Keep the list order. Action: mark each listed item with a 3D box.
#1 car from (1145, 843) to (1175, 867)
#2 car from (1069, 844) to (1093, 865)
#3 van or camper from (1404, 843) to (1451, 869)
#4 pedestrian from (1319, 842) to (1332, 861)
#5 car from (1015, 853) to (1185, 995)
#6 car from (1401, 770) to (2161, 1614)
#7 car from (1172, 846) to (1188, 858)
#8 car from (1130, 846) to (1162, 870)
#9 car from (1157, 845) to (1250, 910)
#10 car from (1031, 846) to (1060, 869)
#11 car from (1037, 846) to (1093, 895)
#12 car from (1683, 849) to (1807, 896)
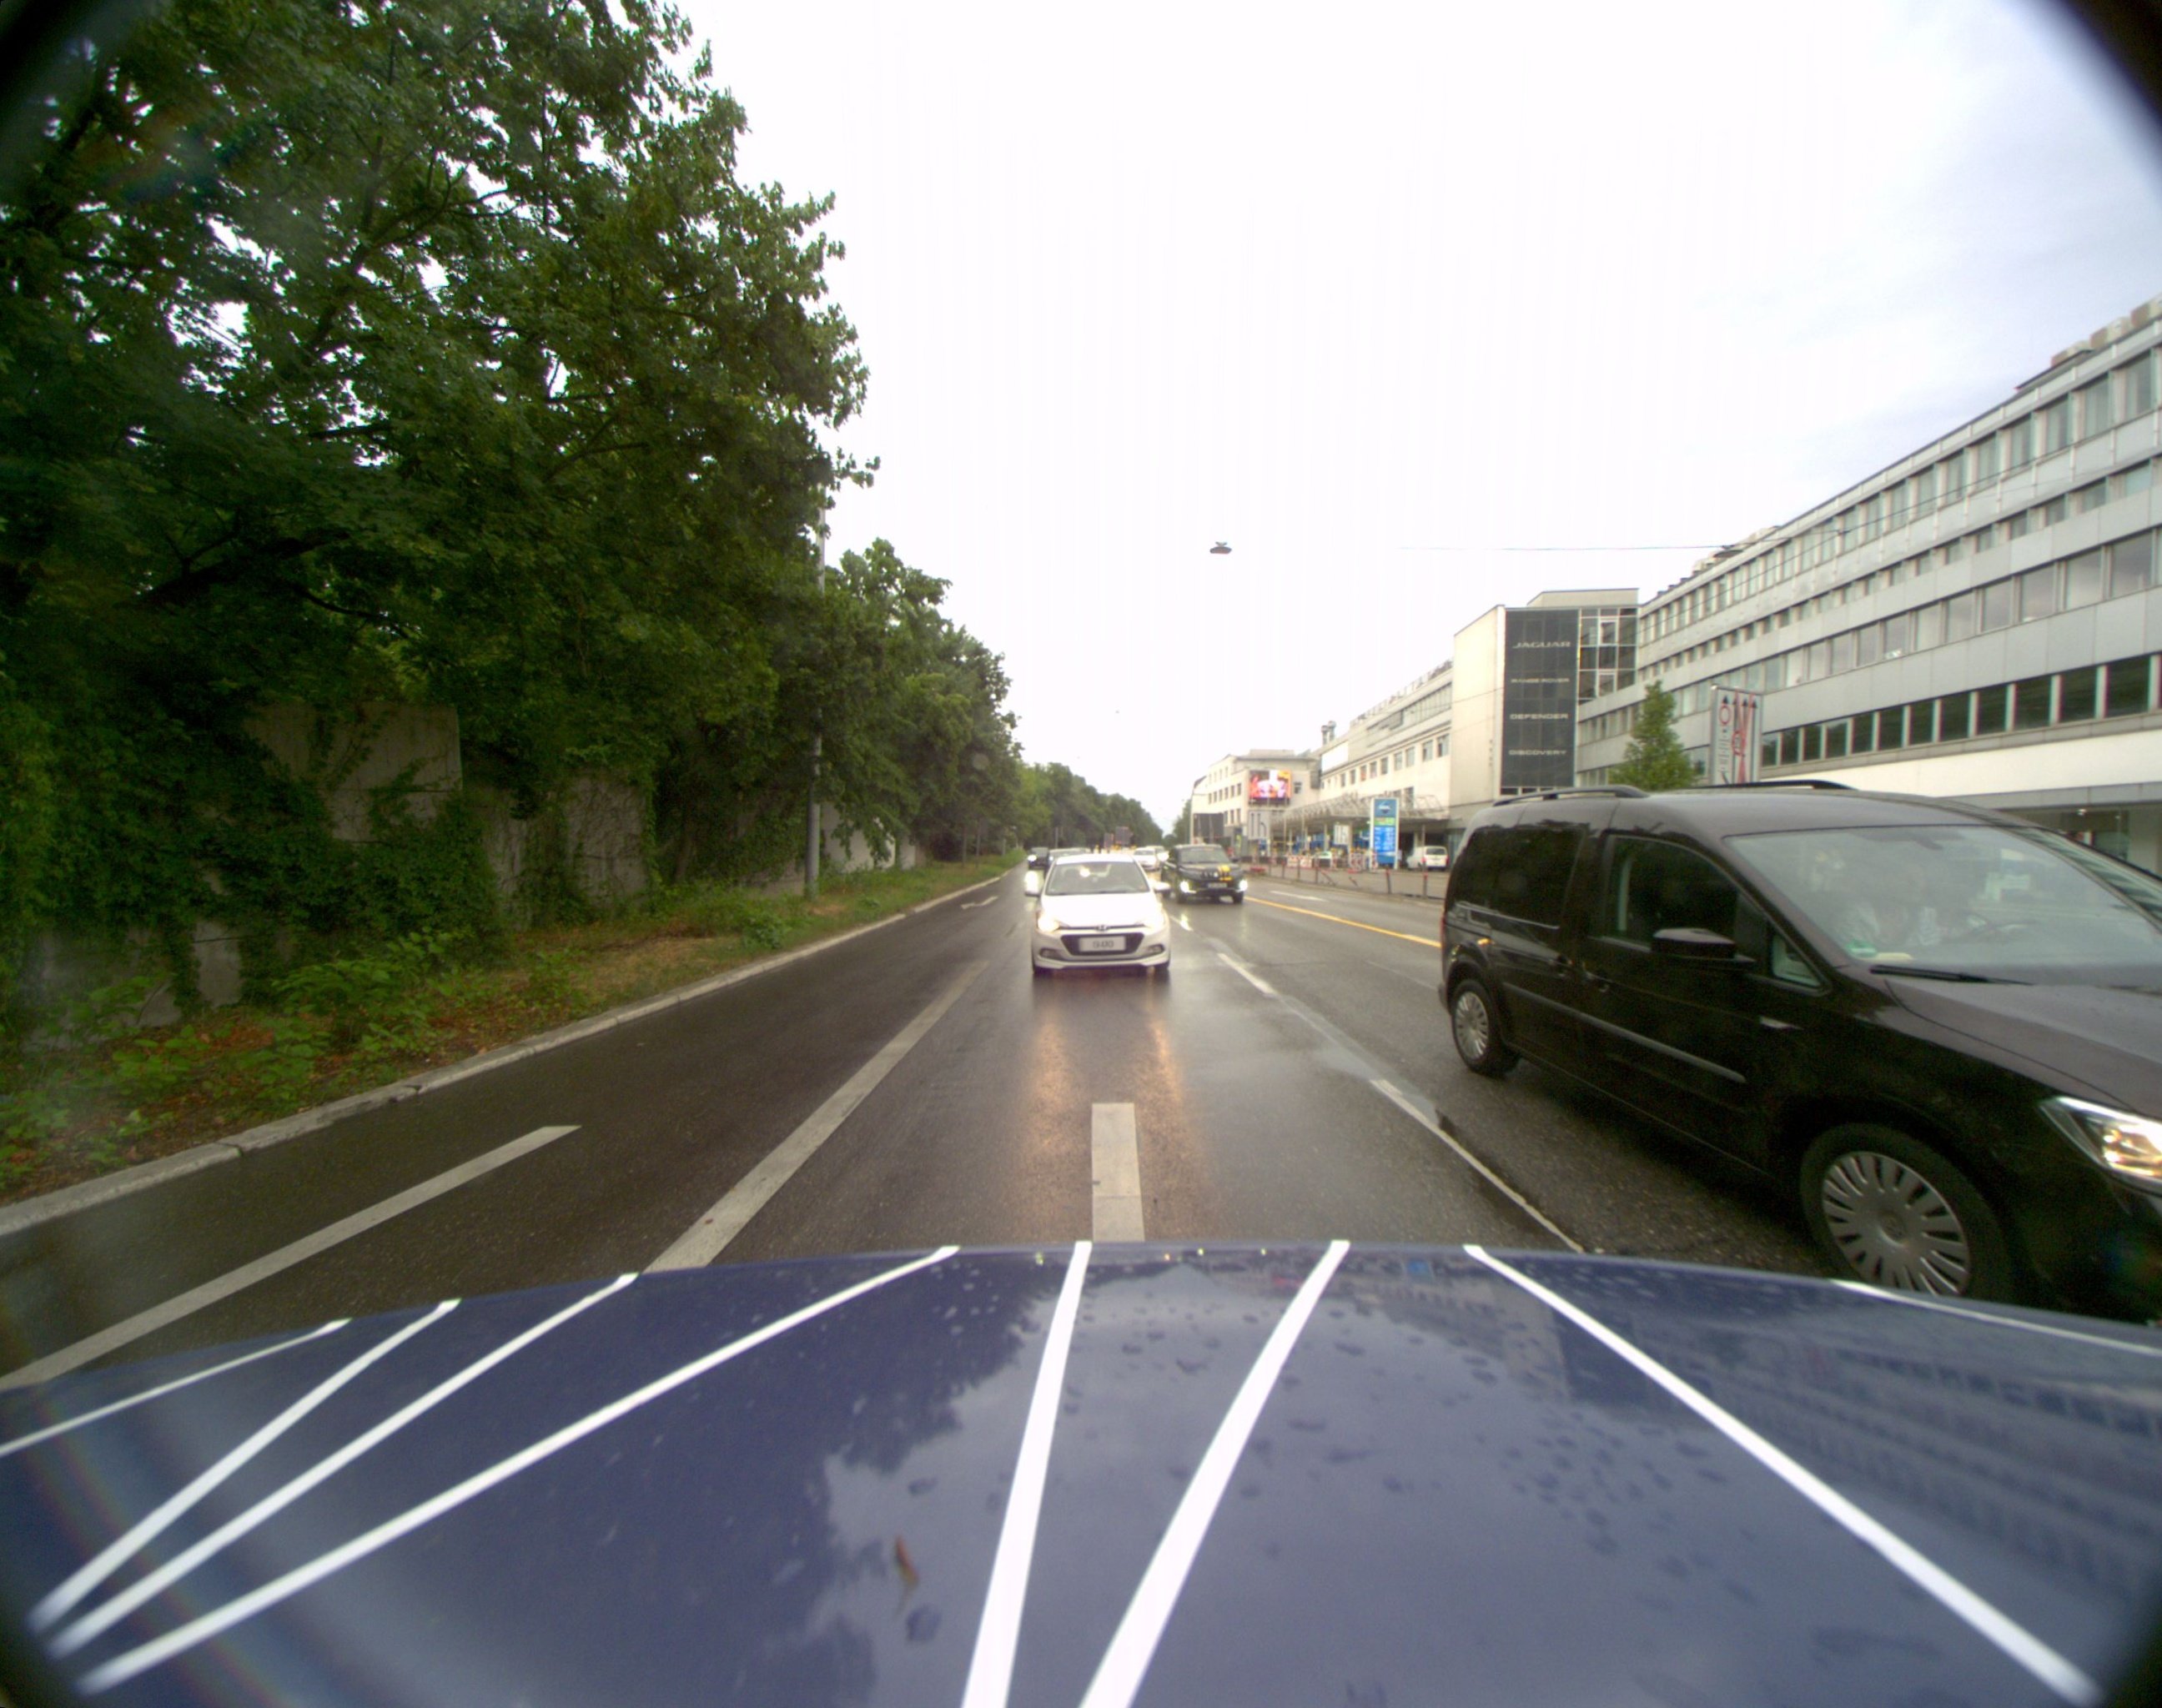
[{"bbox_3d":[5.666,0.044,54.931,1.771,1.628,4.333,-2,1,2],"label":"car"},{"bbox_3d":[0.013,0.005,63.928,1.814,1.590,4.333,-2,1,2],"label":"car"},{"bbox_3d":[27.083,0.122,59.567,1.939,1.913,4.686,0,1,5],"label":"van or camper"},{"bbox_3d":[23.641,-0.211,73.523,0.895,1.804,0.941,-2,1,5],"label":"pedestrian"},{"bbox_3d":[0.274,0.770,10.495,1.814,1.444,4.333,-2,1,2],"label":"car"},{"bbox_3d":[3.284,0.665,3.402,1.905,1.804,4.430,-2,1,2],"label":"car"},{"bbox_3d":[14.256,-0.265,109.539,1.805,1.523,3.764,3,0,0],"label":"car"},{"bbox_3d":[4.052,0.231,48.159,1.771,1.407,4.333,-2,1,2],"label":"car"},{"bbox_3d":[3.357,0.576,21.661,1.814,1.590,4.332,-2,1,-1],"label":"car"},{"bbox_3d":[-2.610,0.236,57.353,1.814,1.590,4.333,-2,1,2],"label":"car"},{"bbox_3d":[-0.503,0.532,28.077,1.814,1.590,4.333,-2,1,2],"label":"car"},{"bbox_3d":[28.344,0.745,32.626,1.922,1.805,4.166,-2,1,6],"label":"car"}]
